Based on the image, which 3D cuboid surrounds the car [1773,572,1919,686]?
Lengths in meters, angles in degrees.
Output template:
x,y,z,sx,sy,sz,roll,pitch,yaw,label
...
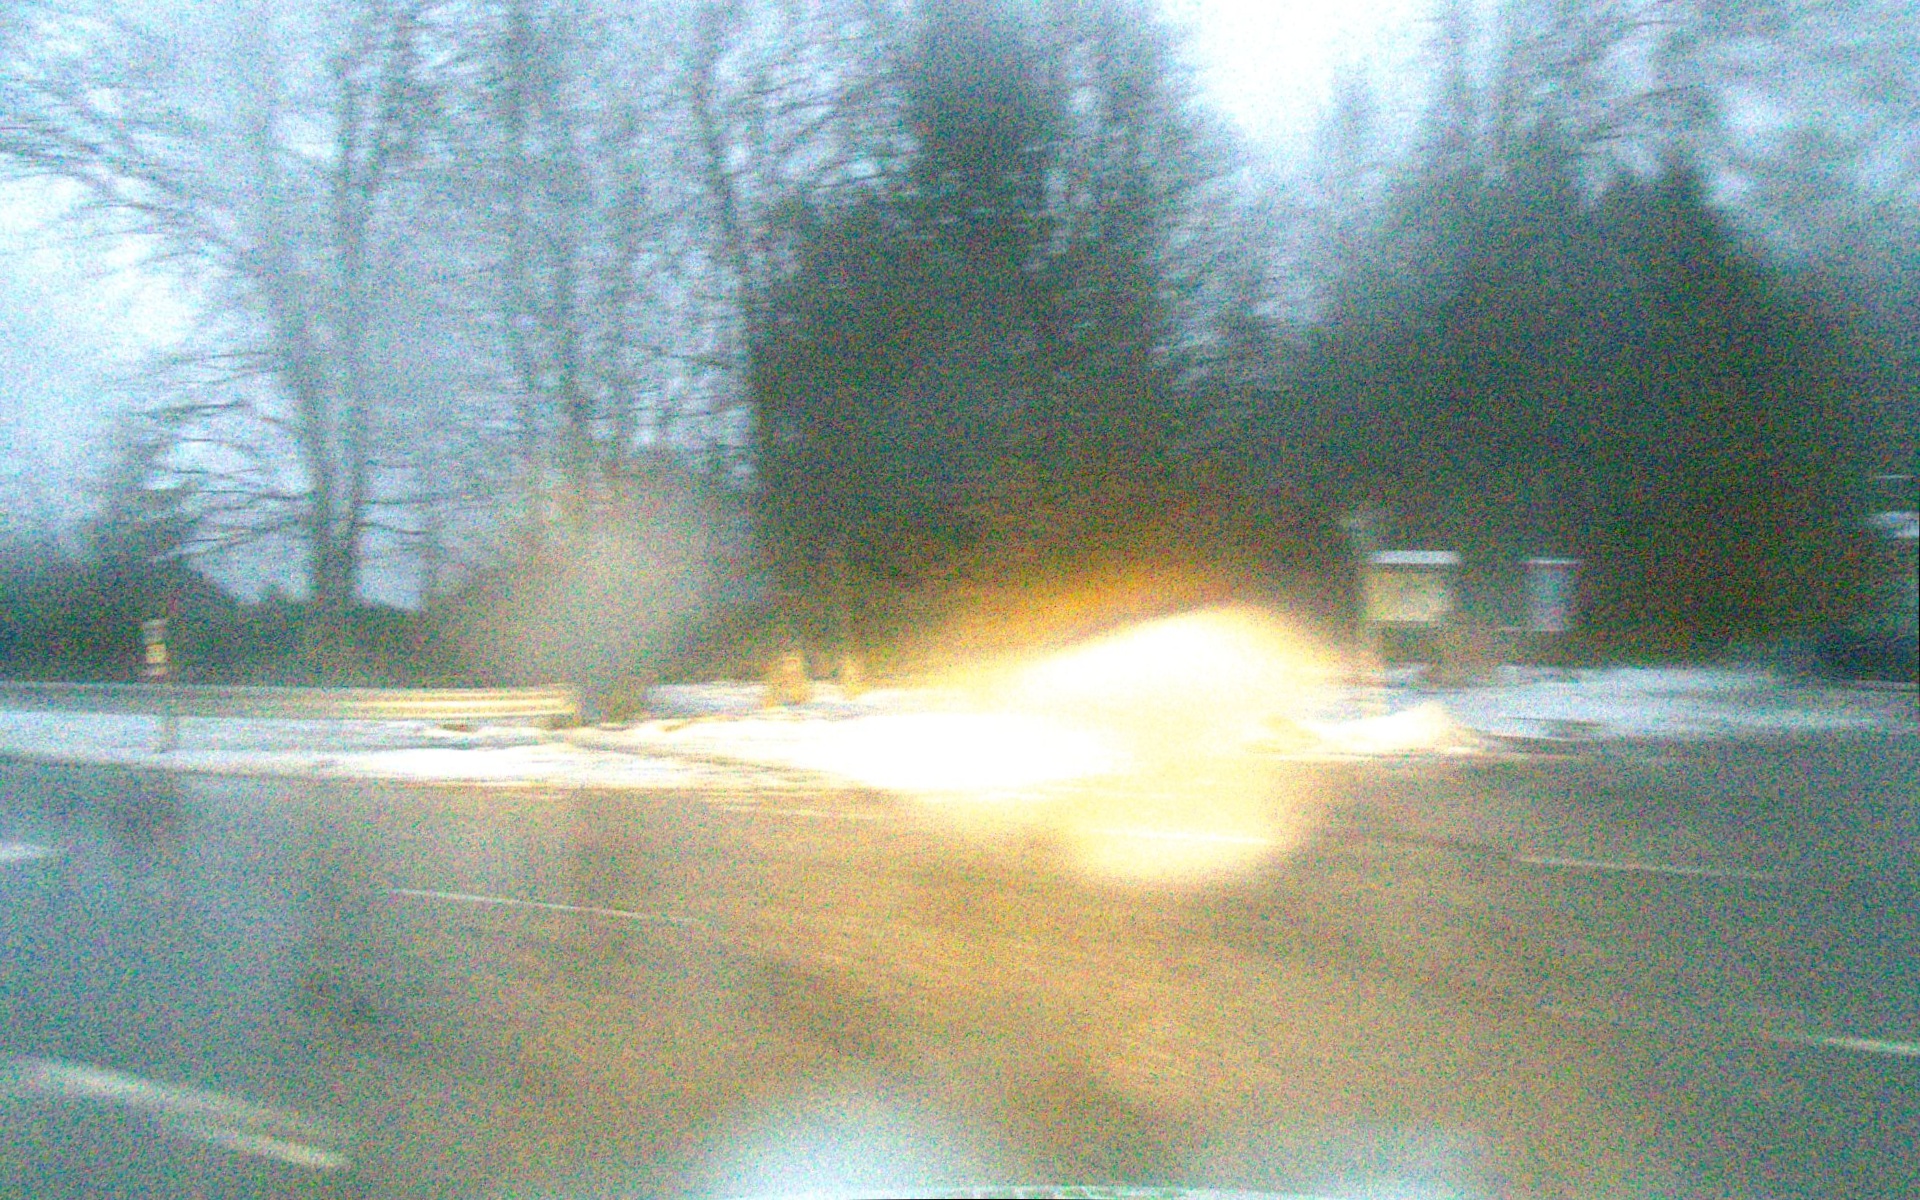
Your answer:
x,y,z,sx,sy,sz,roll,pitch,yaw,label
16.536,0.508,28.700,1.982,1.914,3.900,2,-1,-41,car
